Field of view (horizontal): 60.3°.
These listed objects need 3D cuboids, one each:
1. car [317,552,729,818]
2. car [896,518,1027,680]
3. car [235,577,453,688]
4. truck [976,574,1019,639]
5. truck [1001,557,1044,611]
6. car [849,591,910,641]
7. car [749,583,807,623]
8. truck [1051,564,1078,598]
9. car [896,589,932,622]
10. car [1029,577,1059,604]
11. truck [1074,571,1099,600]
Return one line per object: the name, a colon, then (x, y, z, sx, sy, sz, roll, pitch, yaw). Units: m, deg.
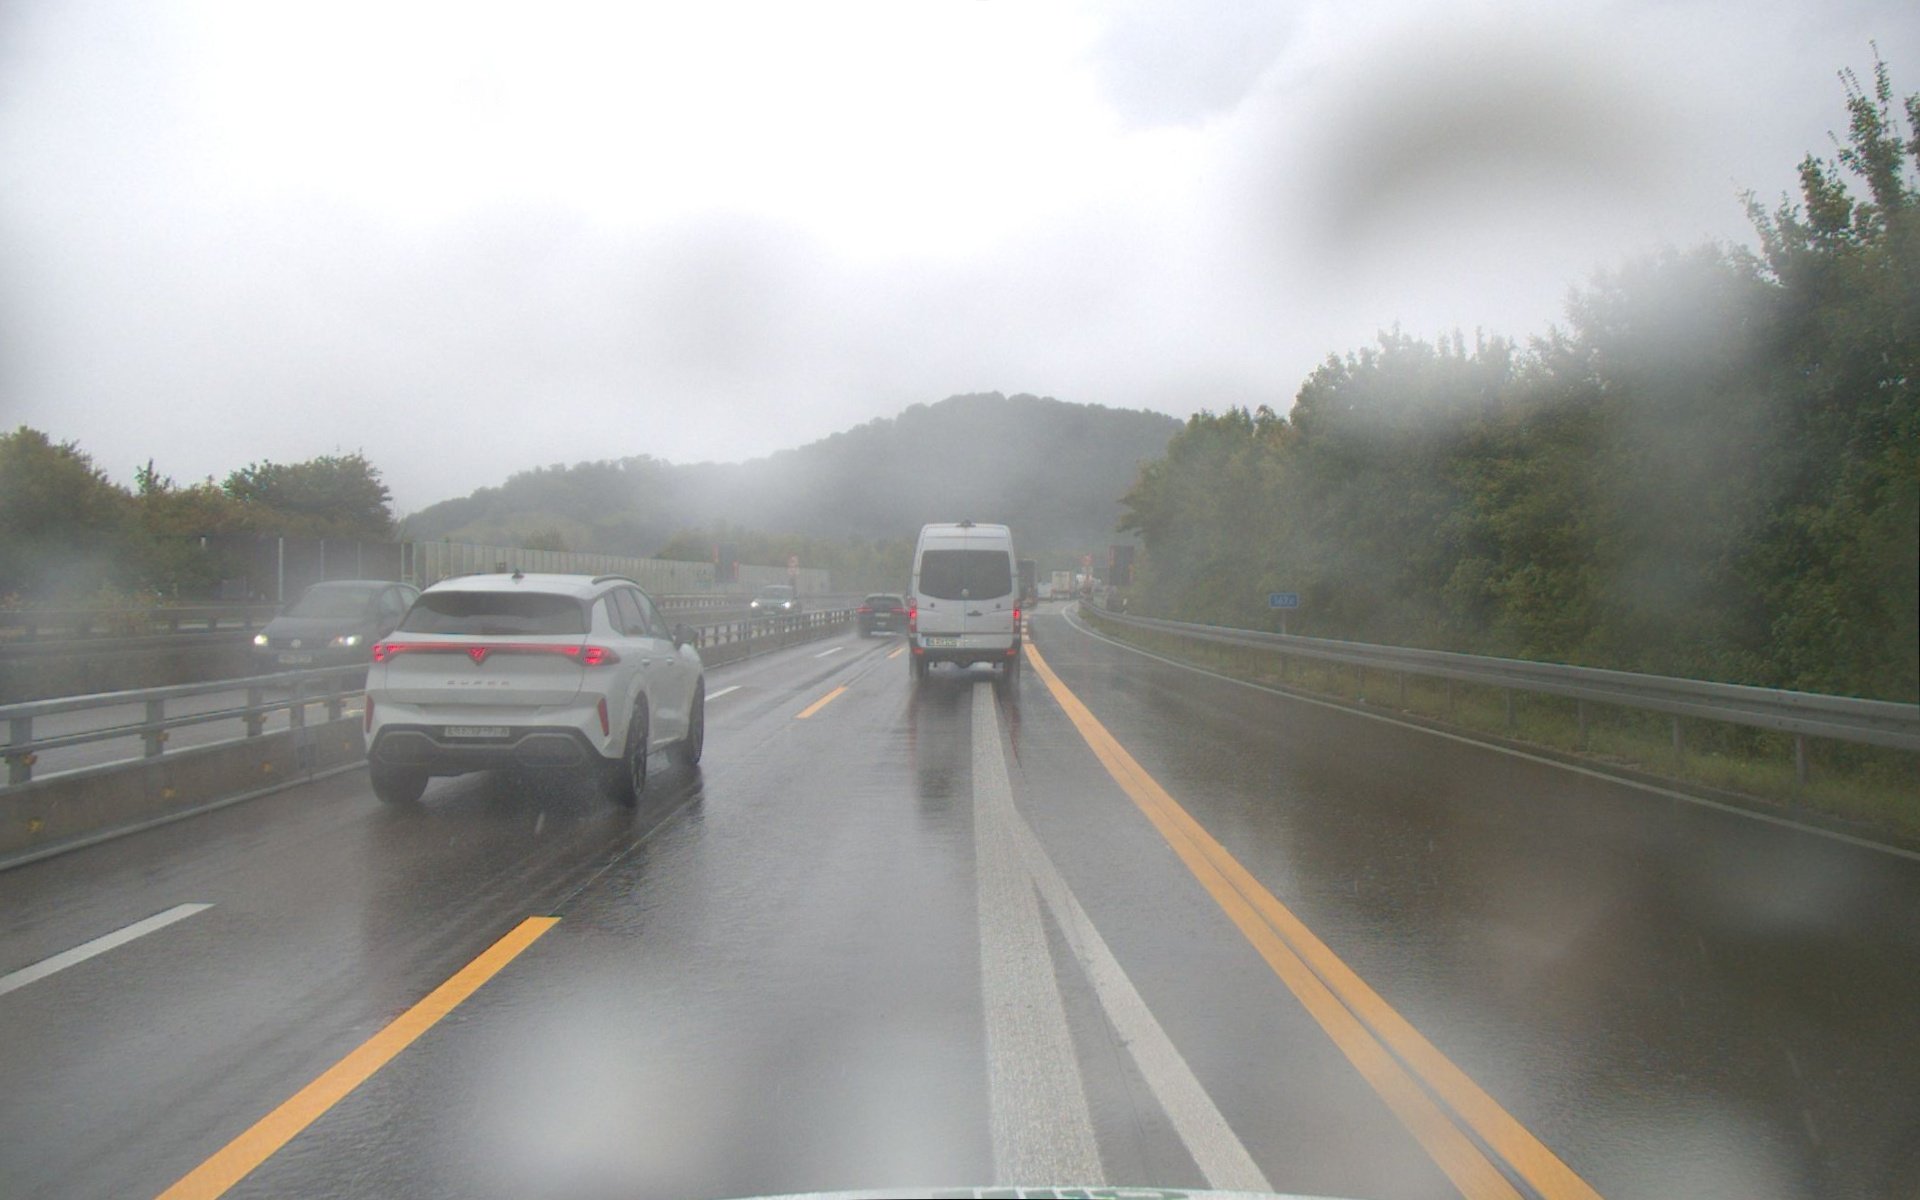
car: (-3.101, 0.539, 12.873, 1.953, 1.645, 4.795, 1, 0, -1)
car: (0.021, -0.020, 29.891, 2.101, 2.616, 5.389, 1, 0, 0)
car: (-9.380, 0.464, 25.539, 1.809, 1.529, 4.129, 1, 0, -1)
truck: (1.978, 0.311, 85.430, 1.952, 3.163, 8.501, 1, 0, 3)
truck: (5.427, -1.340, 143.509, 3.507, 4.483, 9.626, 1, 0, 2)
car: (-2.645, 0.509, 55.273, 1.907, 1.588, 3.999, 1, 0, -1)
car: (-7.856, 0.140, 71.737, 1.741, 1.632, 4.318, 1, 0, 3)
truck: (14.411, -2.625, 227.759, 2.971, 4.483, 9.631, 1, 0, 8)
car: (-2.406, 0.279, 87.166, 1.672, 1.656, 4.000, 1, 0, 1)
car: (9.720, -1.061, 191.013, 2.837, 2.938, 6.416, 1, 0, 8)
truck: (19.940, -2.230, 259.738, 2.836, 4.483, 9.632, 1, 0, 10)
